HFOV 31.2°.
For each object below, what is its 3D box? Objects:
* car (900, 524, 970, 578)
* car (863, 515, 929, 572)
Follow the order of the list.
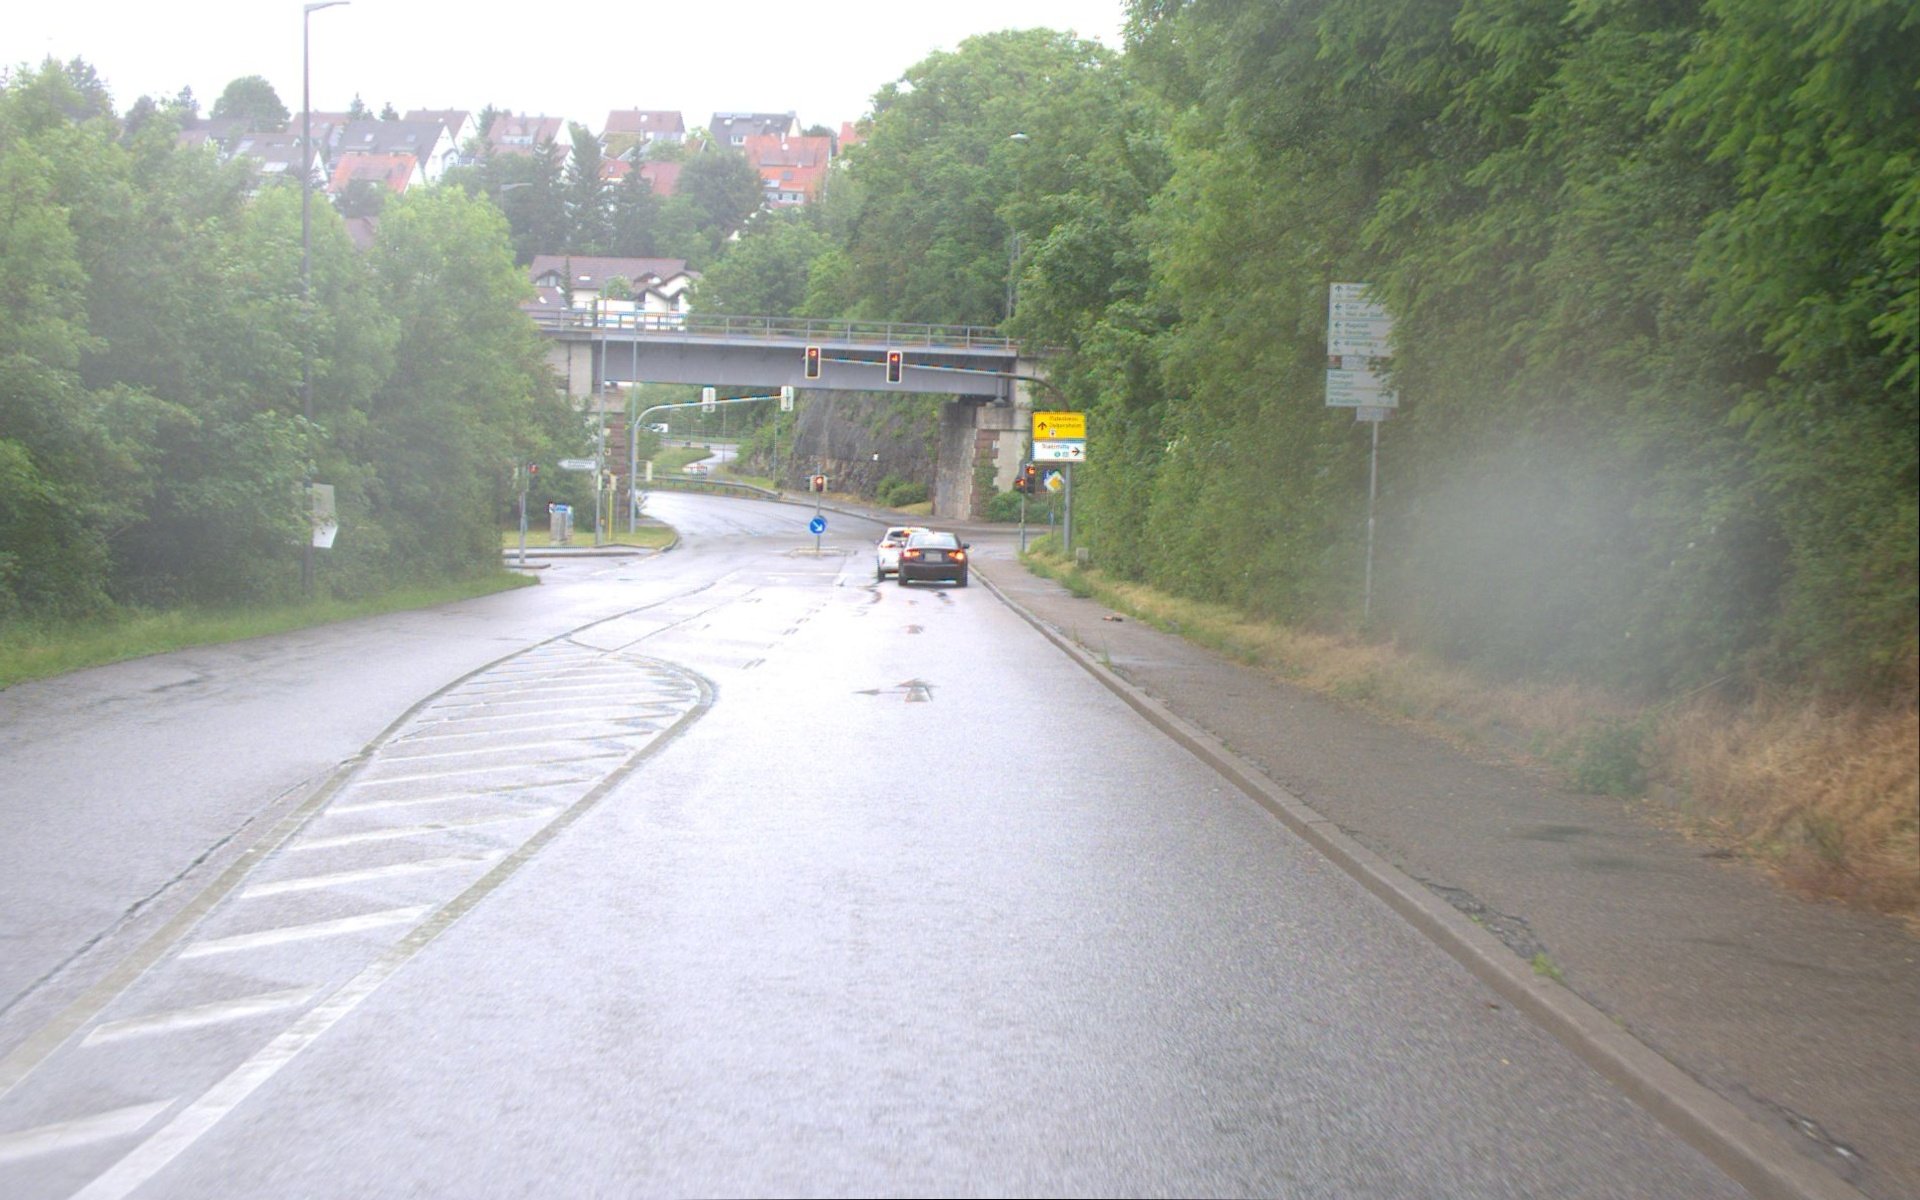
[{"bbox_3d":[-0.636,-1.276,89.517,1.768,1.375,4.000,0,1,0],"label":"car"},{"bbox_3d":[-1.776,-1.588,96.199,1.768,1.557,4.000,0,1,0],"label":"car"}]
